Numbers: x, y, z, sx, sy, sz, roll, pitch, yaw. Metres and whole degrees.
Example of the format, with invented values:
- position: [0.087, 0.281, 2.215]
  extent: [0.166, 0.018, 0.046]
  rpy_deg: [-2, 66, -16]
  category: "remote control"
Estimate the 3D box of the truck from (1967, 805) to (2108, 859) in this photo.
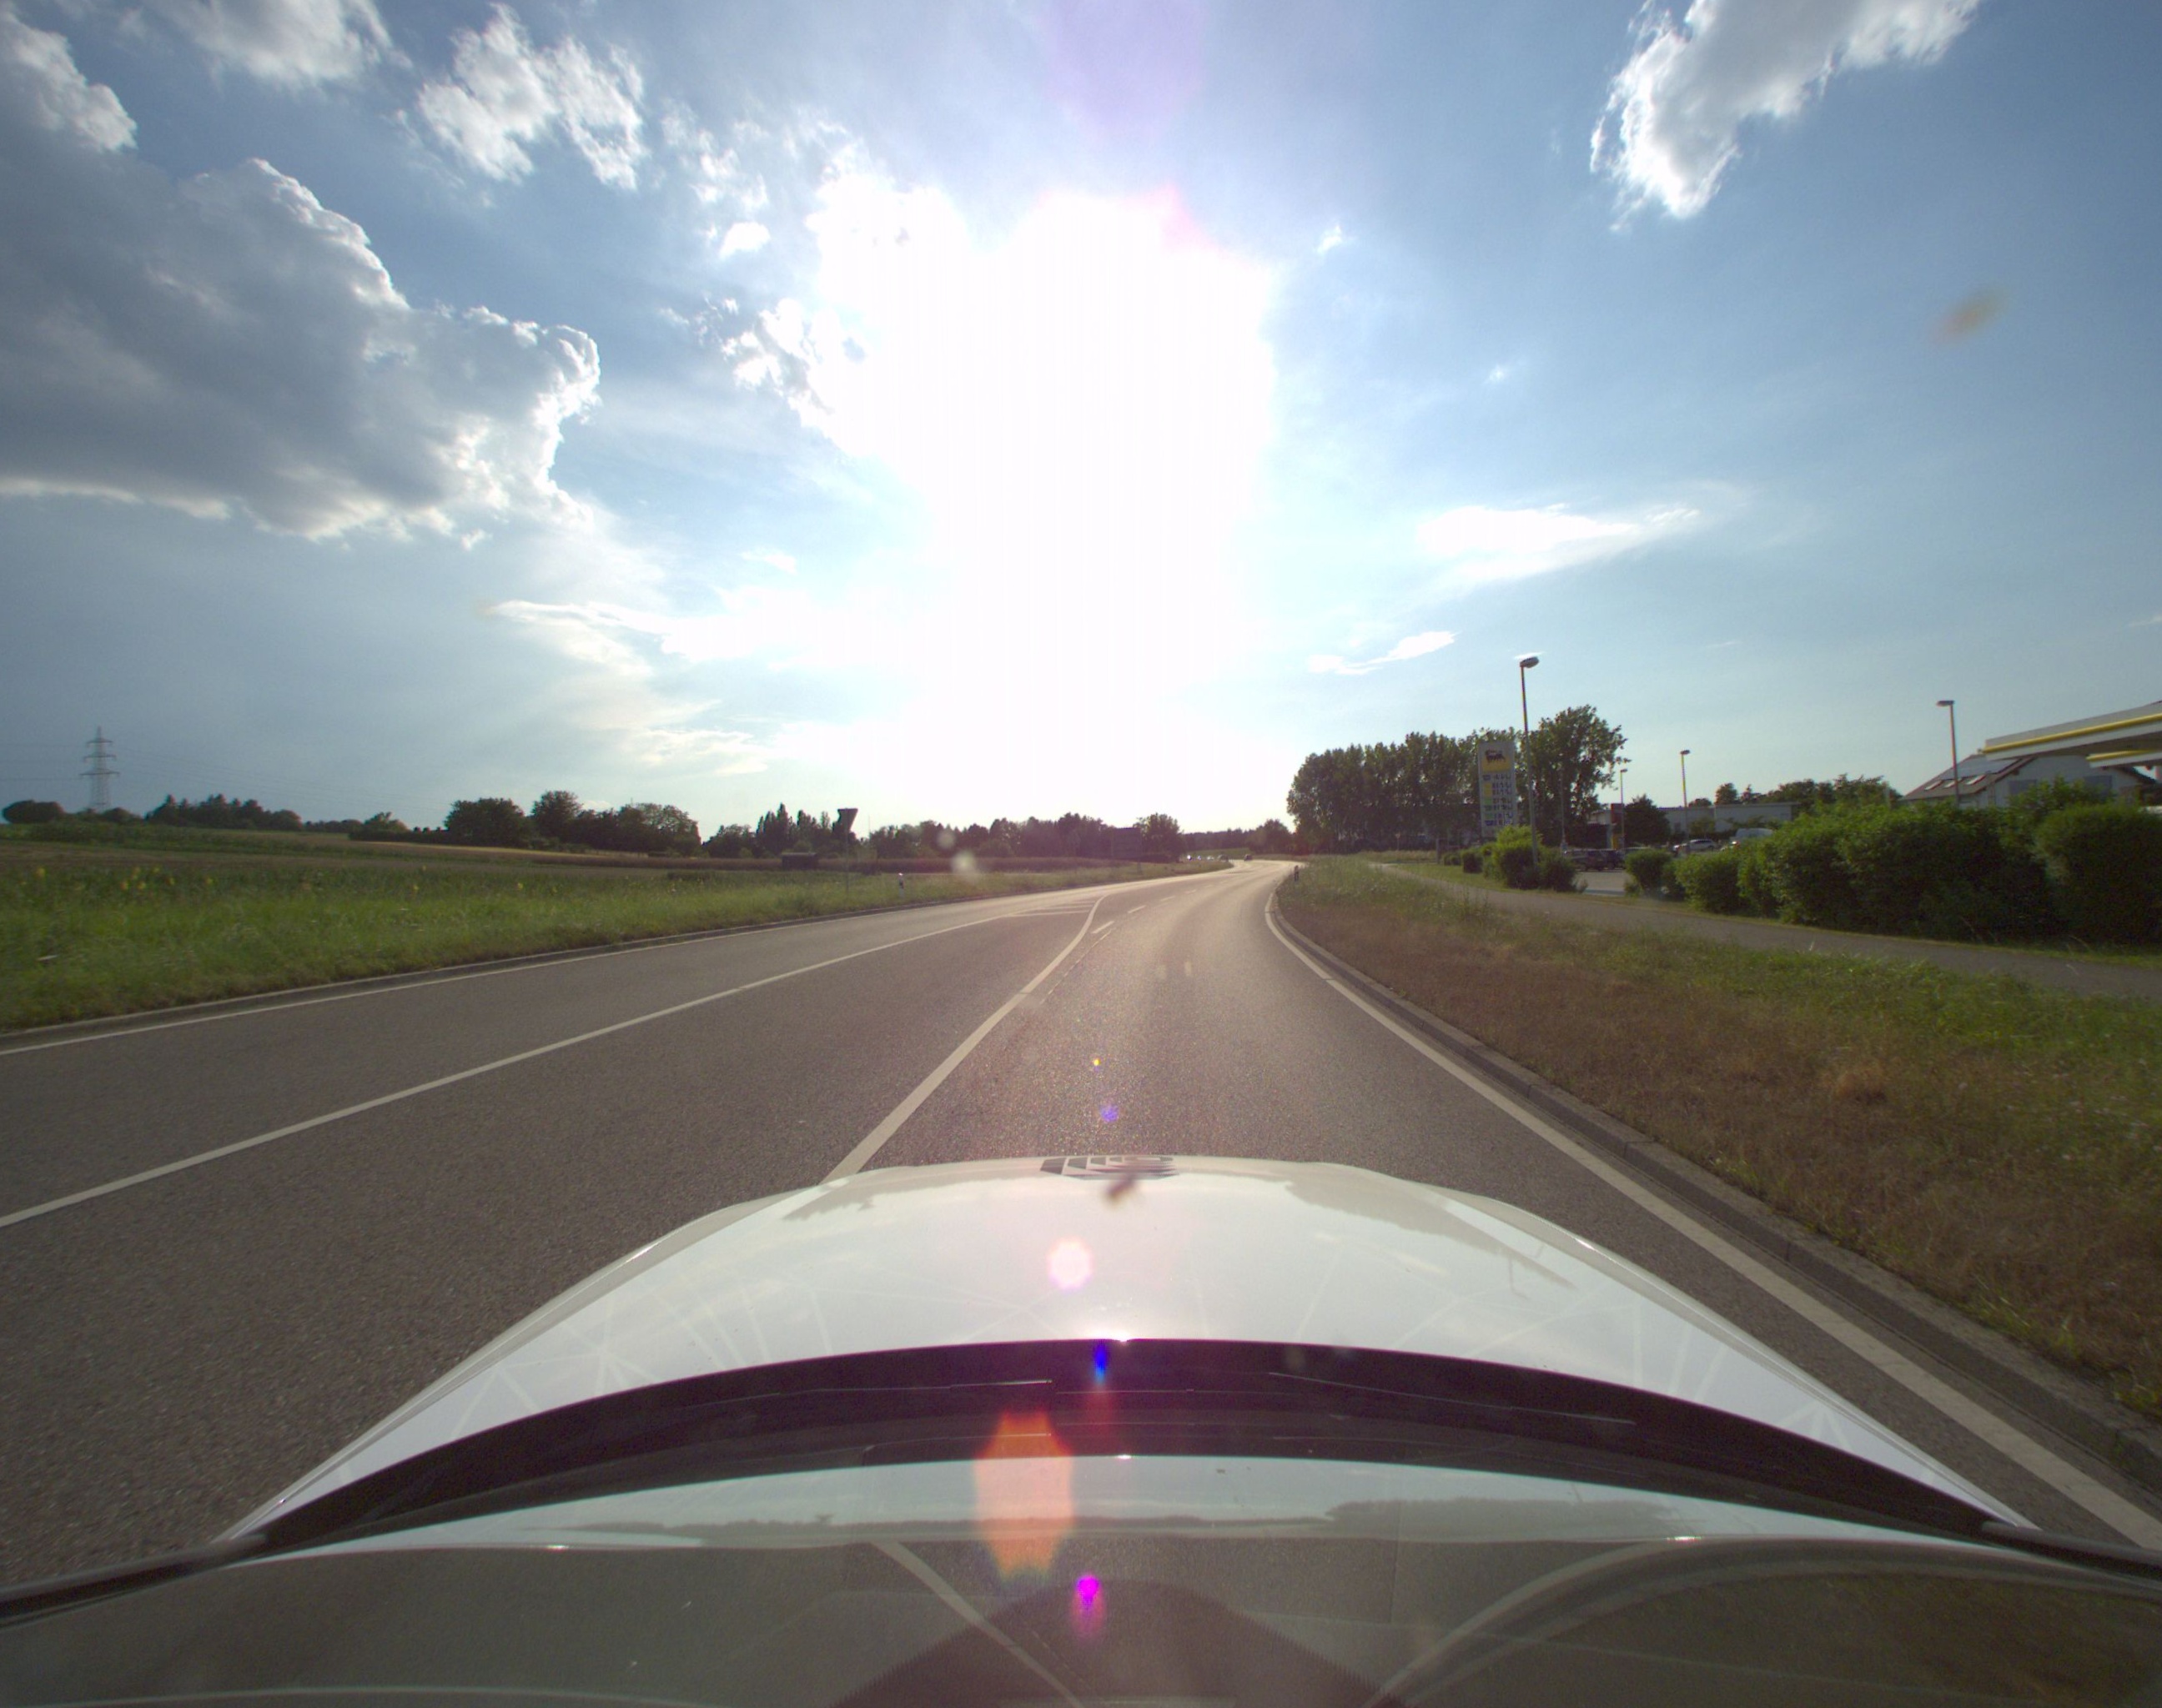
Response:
- position: [69.737, -1.547, 59.453]
  extent: [7.976, 3.688, 2.760]
  rpy_deg: [0, -1, -7]
  category: "truck"

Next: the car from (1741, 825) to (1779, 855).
- position: [62.054, -1.232, 74.397]
  extent: [2.208, 2.519, 6.859]
  rpy_deg: [-1, -1, 43]
  category: "car"

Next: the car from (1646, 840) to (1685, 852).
- position: [76.350, -1.046, 106.495]
  extent: [2.128, 1.378, 4.503]
  rpy_deg: [0, -1, 3]
  category: "car"

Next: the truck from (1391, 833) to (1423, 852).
- position: [58.792, -2.028, 146.988]
  extent: [2.620, 3.162, 5.689]
  rpy_deg: [0, -2, -10]
  category: "truck"

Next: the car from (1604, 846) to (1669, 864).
- position: [41.832, 0.113, 61.445]
  extent: [1.600, 1.202, 3.892]
  rpy_deg: [2, -2, -18]
  category: "car"

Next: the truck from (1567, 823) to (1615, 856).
- position: [64.541, -1.768, 103.091]
  extent: [2.244, 3.915, 5.099]
  rpy_deg: [0, -1, -11]
  category: "truck"

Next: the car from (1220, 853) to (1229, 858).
- position: [40.421, 0.503, 229.312]
  extent: [1.845, 1.408, 3.643]
  rpy_deg: [0, -1, -1]
  category: "car"
